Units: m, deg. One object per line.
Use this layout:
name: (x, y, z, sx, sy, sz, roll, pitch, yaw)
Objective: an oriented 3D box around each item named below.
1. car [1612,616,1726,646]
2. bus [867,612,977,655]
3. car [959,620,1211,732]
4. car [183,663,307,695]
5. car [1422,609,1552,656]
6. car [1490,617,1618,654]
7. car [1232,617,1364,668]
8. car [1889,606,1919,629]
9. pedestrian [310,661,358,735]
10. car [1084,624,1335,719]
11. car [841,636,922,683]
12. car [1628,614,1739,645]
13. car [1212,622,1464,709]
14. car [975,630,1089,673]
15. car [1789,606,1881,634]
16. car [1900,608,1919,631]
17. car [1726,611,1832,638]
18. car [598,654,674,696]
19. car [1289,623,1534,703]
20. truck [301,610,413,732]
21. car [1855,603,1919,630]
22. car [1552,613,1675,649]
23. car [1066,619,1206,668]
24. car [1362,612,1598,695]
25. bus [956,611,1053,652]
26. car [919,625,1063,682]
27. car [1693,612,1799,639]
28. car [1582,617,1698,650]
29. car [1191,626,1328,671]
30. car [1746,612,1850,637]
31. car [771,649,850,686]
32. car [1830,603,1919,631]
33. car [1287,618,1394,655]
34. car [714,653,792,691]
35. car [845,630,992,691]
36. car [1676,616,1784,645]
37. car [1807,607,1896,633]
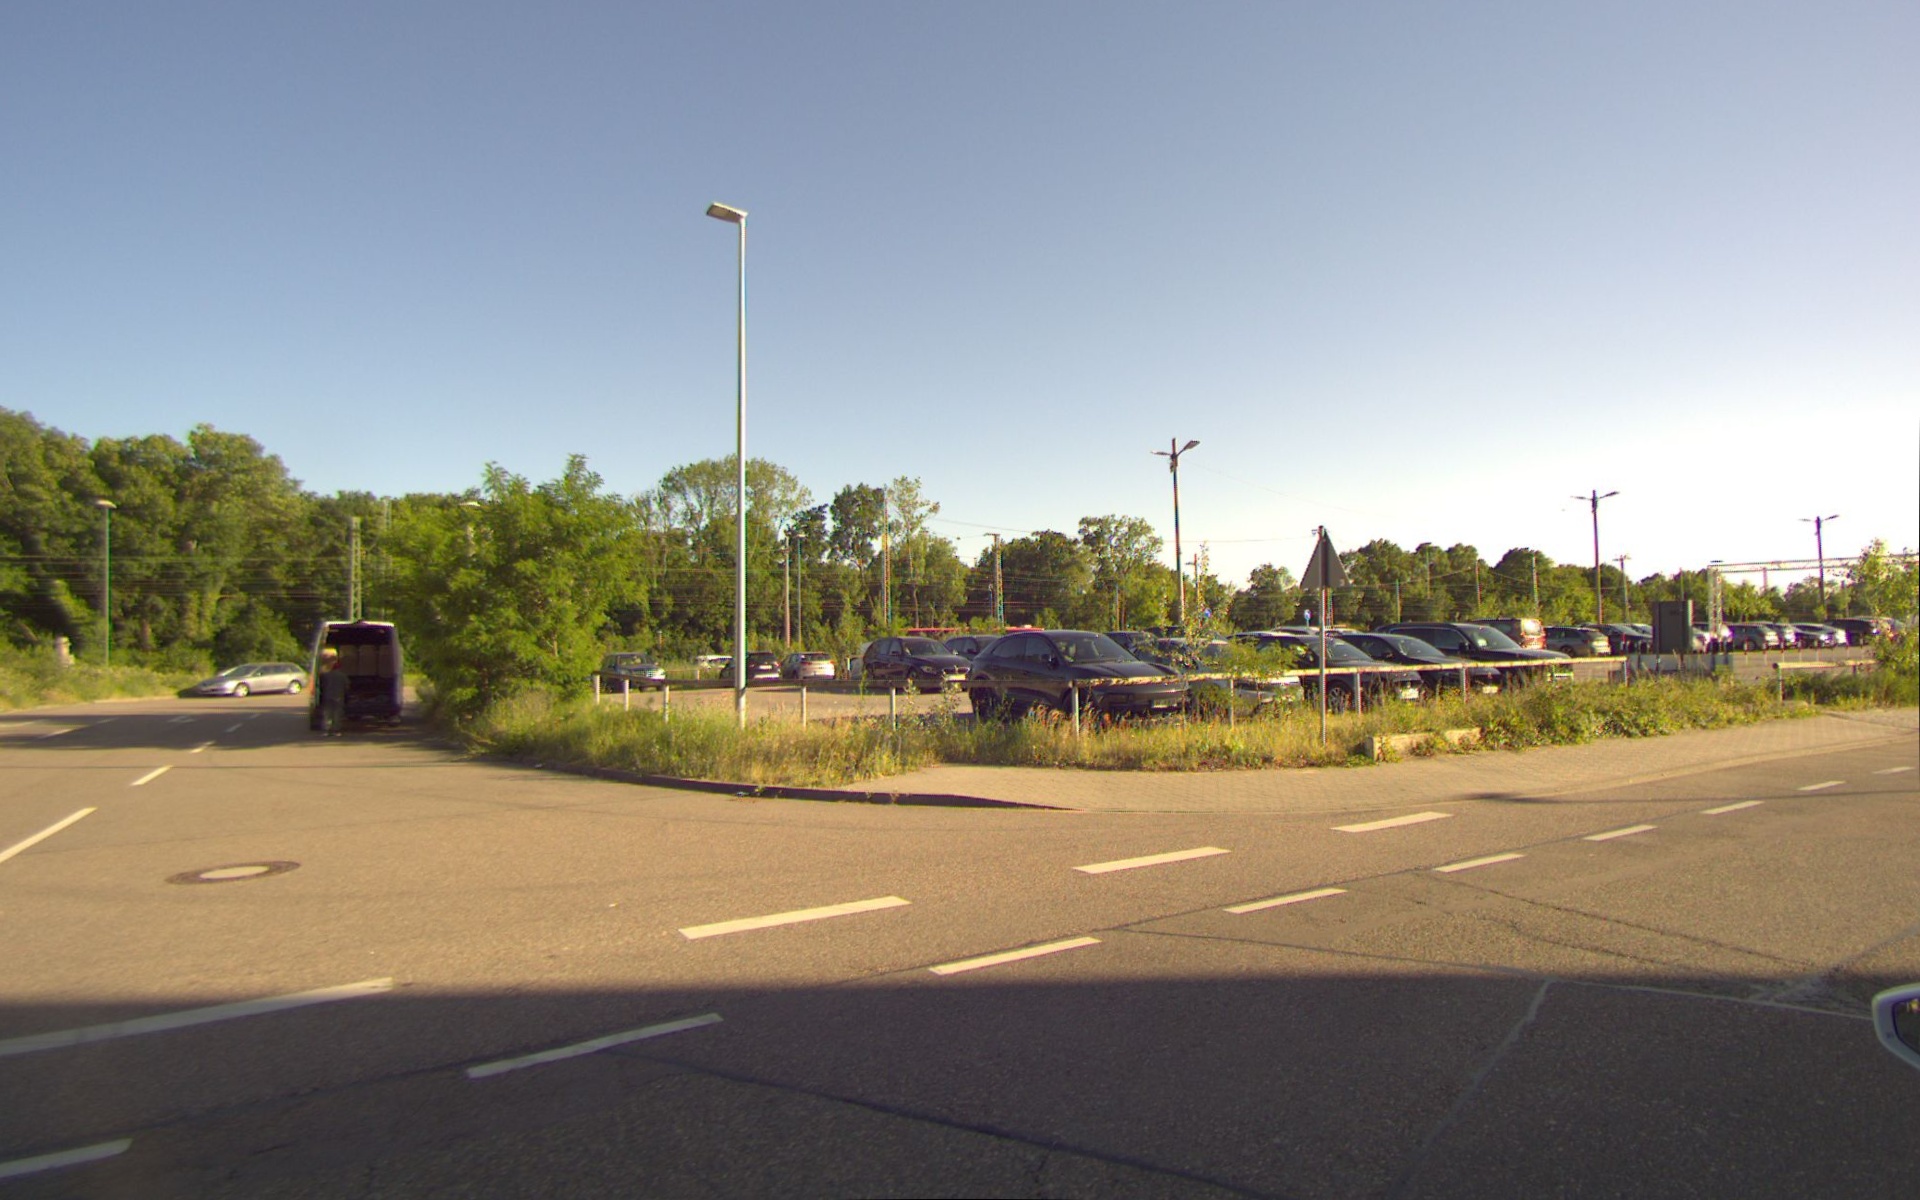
car: (35.432, 1.554, 50.319, 1.856, 1.411, 4.303, -1, -2, -29)
bus: (-2.250, 1.989, 59.980, 6.130, 2.379, 2.529, 0, -3, -30)
car: (1.931, 1.210, 16.965, 2.023, 1.601, 4.410, 0, -2, -29)
car: (-31.936, 3.520, 45.023, 1.670, 1.230, 4.424, -2, -3, 19)
car: (22.002, 1.353, 42.148, 1.835, 1.829, 4.556, -1, -2, -29)
car: (26.434, 1.587, 44.853, 1.965, 1.500, 4.560, -1, -2, -27)
car: (11.938, 1.522, 35.698, 1.945, 1.683, 4.137, 0, -2, -33)
car: (68.838, 1.191, 70.979, 1.857, 1.639, 4.300, -1, -2, -31)
pedestrian: (-14.734, 2.292, 23.665, 0.904, 1.661, 0.924, 0, -2, -29)
car: (4.397, 1.253, 18.437, 2.023, 1.481, 4.410, 0, -2, -29)
car: (-3.508, 2.594, 44.368, 1.842, 1.944, 3.983, 0, -2, -34)
car: (37.390, 1.536, 52.025, 1.856, 1.482, 4.303, -1, -2, -29)
car: (7.284, 1.241, 19.838, 2.023, 1.481, 4.410, 0, -2, -29)
car: (2.552, 1.869, 36.485, 2.027, 1.415, 4.136, 0, -3, -34)
car: (53.511, 1.251, 61.516, 1.857, 1.624, 3.864, -1, -2, -31)
car: (70.917, 1.378, 72.420, 1.857, 1.639, 4.187, -1, -2, -31)
car: (46.609, 1.415, 57.228, 1.857, 1.394, 4.300, -1, -2, -31)
car: (-12.789, 2.906, 39.469, 1.842, 1.484, 3.983, 0, -3, -34)
car: (9.397, 1.286, 21.299, 2.023, 1.481, 4.410, 0, -2, -29)
truck: (-16.047, 1.824, 26.751, 2.290, 2.844, 6.463, 0, -3, -31)
car: (64.237, 1.120, 68.551, 1.857, 1.815, 4.300, -1, -2, -31)
car: (31.099, 1.494, 47.945, 1.835, 1.606, 4.556, -1, -2, -29)
car: (5.450, 1.377, 31.526, 2.027, 1.415, 4.136, 0, -3, -34)
car: (11.772, 1.199, 23.063, 2.023, 1.692, 4.410, 0, -2, -29)
bus: (2.782, 1.960, 62.862, 5.521, 2.379, 2.529, 0, -3, -30)
car: (0.824, 1.541, 29.215, 2.027, 1.484, 4.376, 0, -3, -34)
car: (44.154, 1.442, 56.533, 1.857, 1.438, 4.300, -1, -2, -31)
car: (33.175, 1.638, 49.111, 1.856, 1.543, 4.303, -1, -2, -29)
car: (10.132, 1.658, 34.260, 2.027, 1.415, 4.136, 0, -3, -34)
car: (48.927, 1.461, 58.739, 1.857, 1.394, 4.300, -1, -2, -31)
car: (-6.504, 2.876, 43.442, 1.842, 1.484, 3.983, 0, -3, -34)
car: (59.710, 1.114, 65.124, 2.031, 1.764, 4.565, -1, -2, -26)
car: (17.135, 1.645, 45.469, 1.835, 1.566, 4.348, -1, -2, -29)
car: (-8.767, 2.992, 42.262, 1.842, 1.484, 3.983, 0, -3, -34)
car: (-1.228, 1.623, 27.369, 2.027, 1.484, 4.376, 0, -3, -34)
car: (41.904, 1.673, 54.749, 1.857, 1.438, 4.300, -1, -2, -31)
car: (56.961, 1.280, 64.241, 1.857, 1.540, 3.864, -1, -2, -31)
